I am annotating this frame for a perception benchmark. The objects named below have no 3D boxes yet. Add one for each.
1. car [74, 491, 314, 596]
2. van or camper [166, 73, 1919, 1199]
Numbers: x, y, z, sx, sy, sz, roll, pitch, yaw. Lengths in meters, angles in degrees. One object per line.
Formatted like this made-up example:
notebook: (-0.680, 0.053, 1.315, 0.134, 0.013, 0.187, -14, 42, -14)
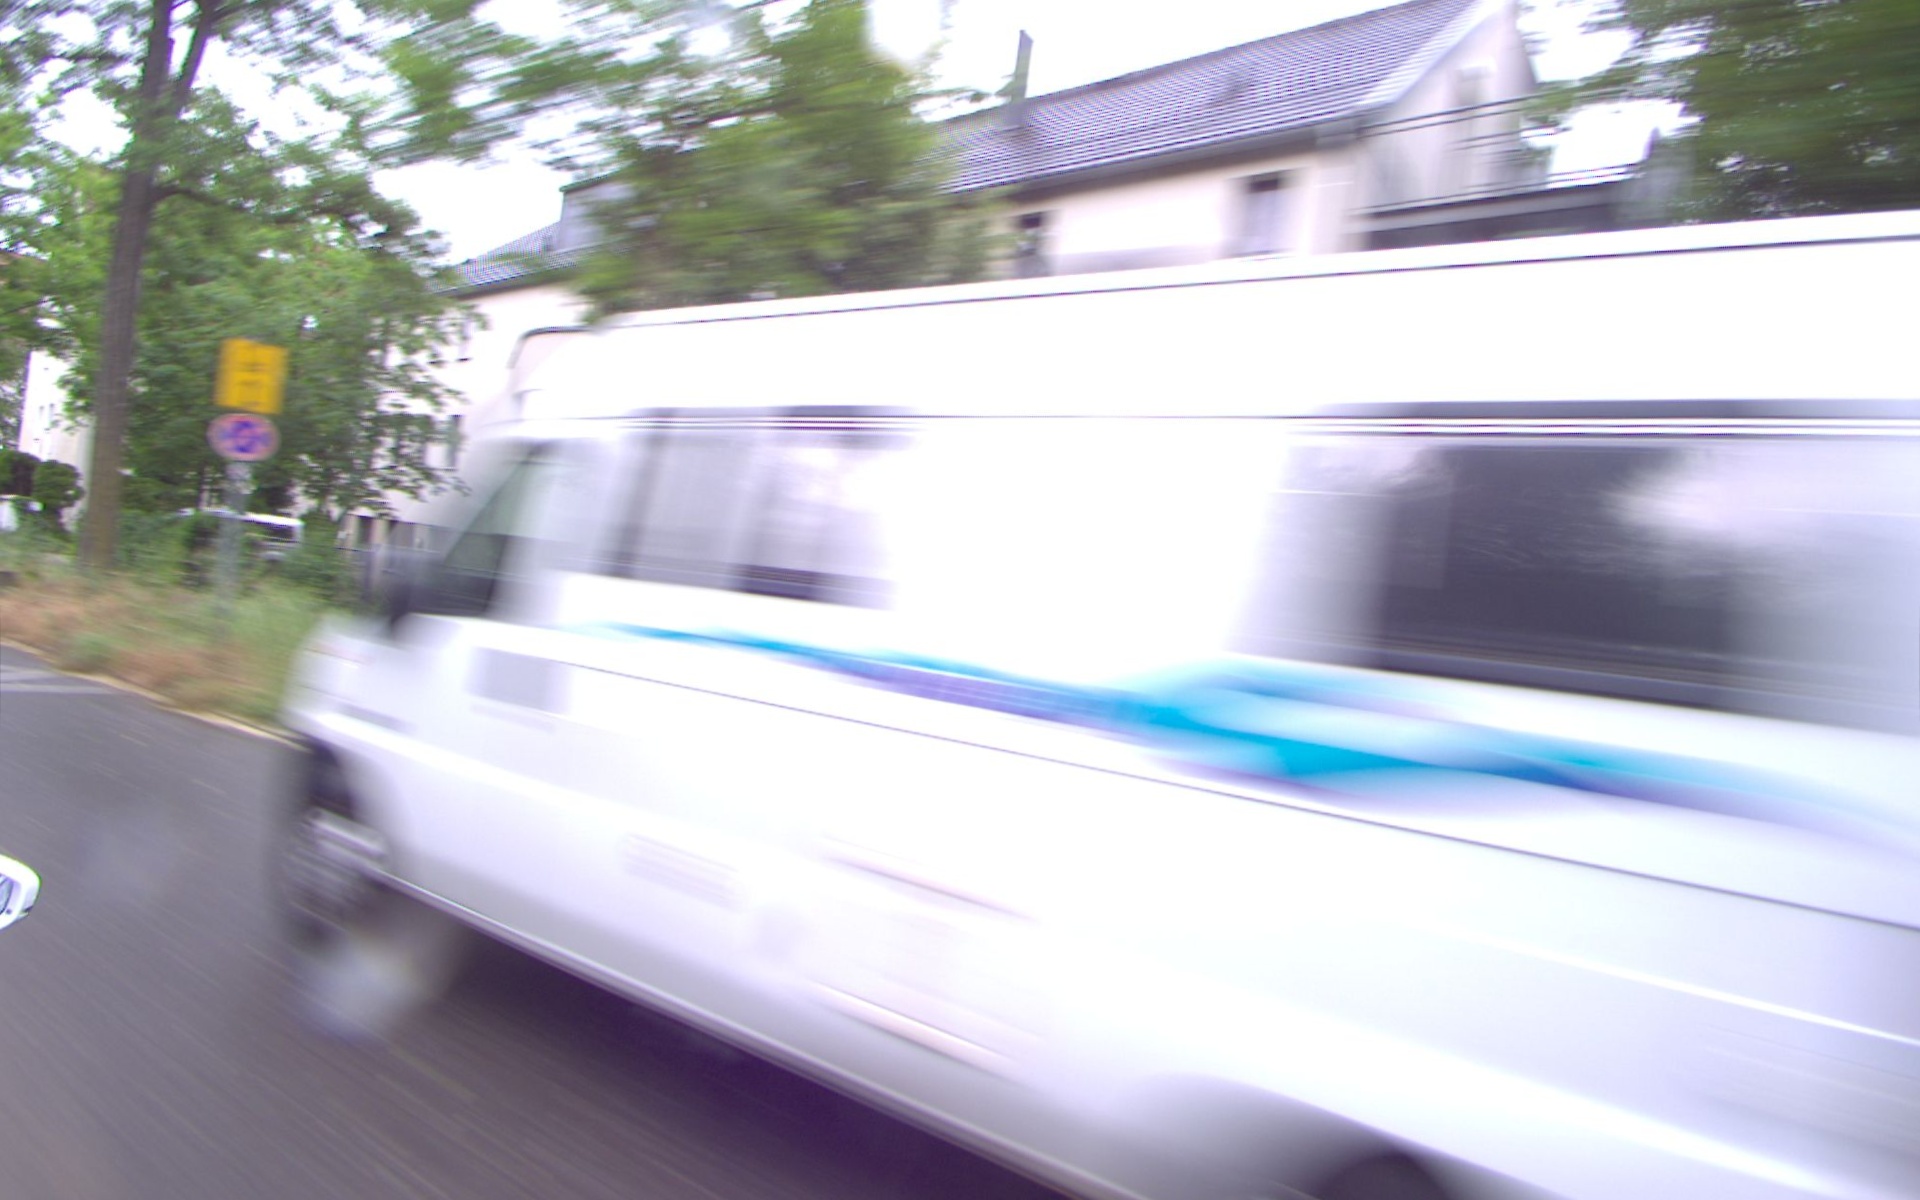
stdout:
car: (-18.772, -1.343, 24.809, 1.849, 1.838, 4.301, 7, -2, 42)
van or camper: (-0.167, 0.366, 3.519, 5.545, 2.506, 2.043, 7, -3, 32)
